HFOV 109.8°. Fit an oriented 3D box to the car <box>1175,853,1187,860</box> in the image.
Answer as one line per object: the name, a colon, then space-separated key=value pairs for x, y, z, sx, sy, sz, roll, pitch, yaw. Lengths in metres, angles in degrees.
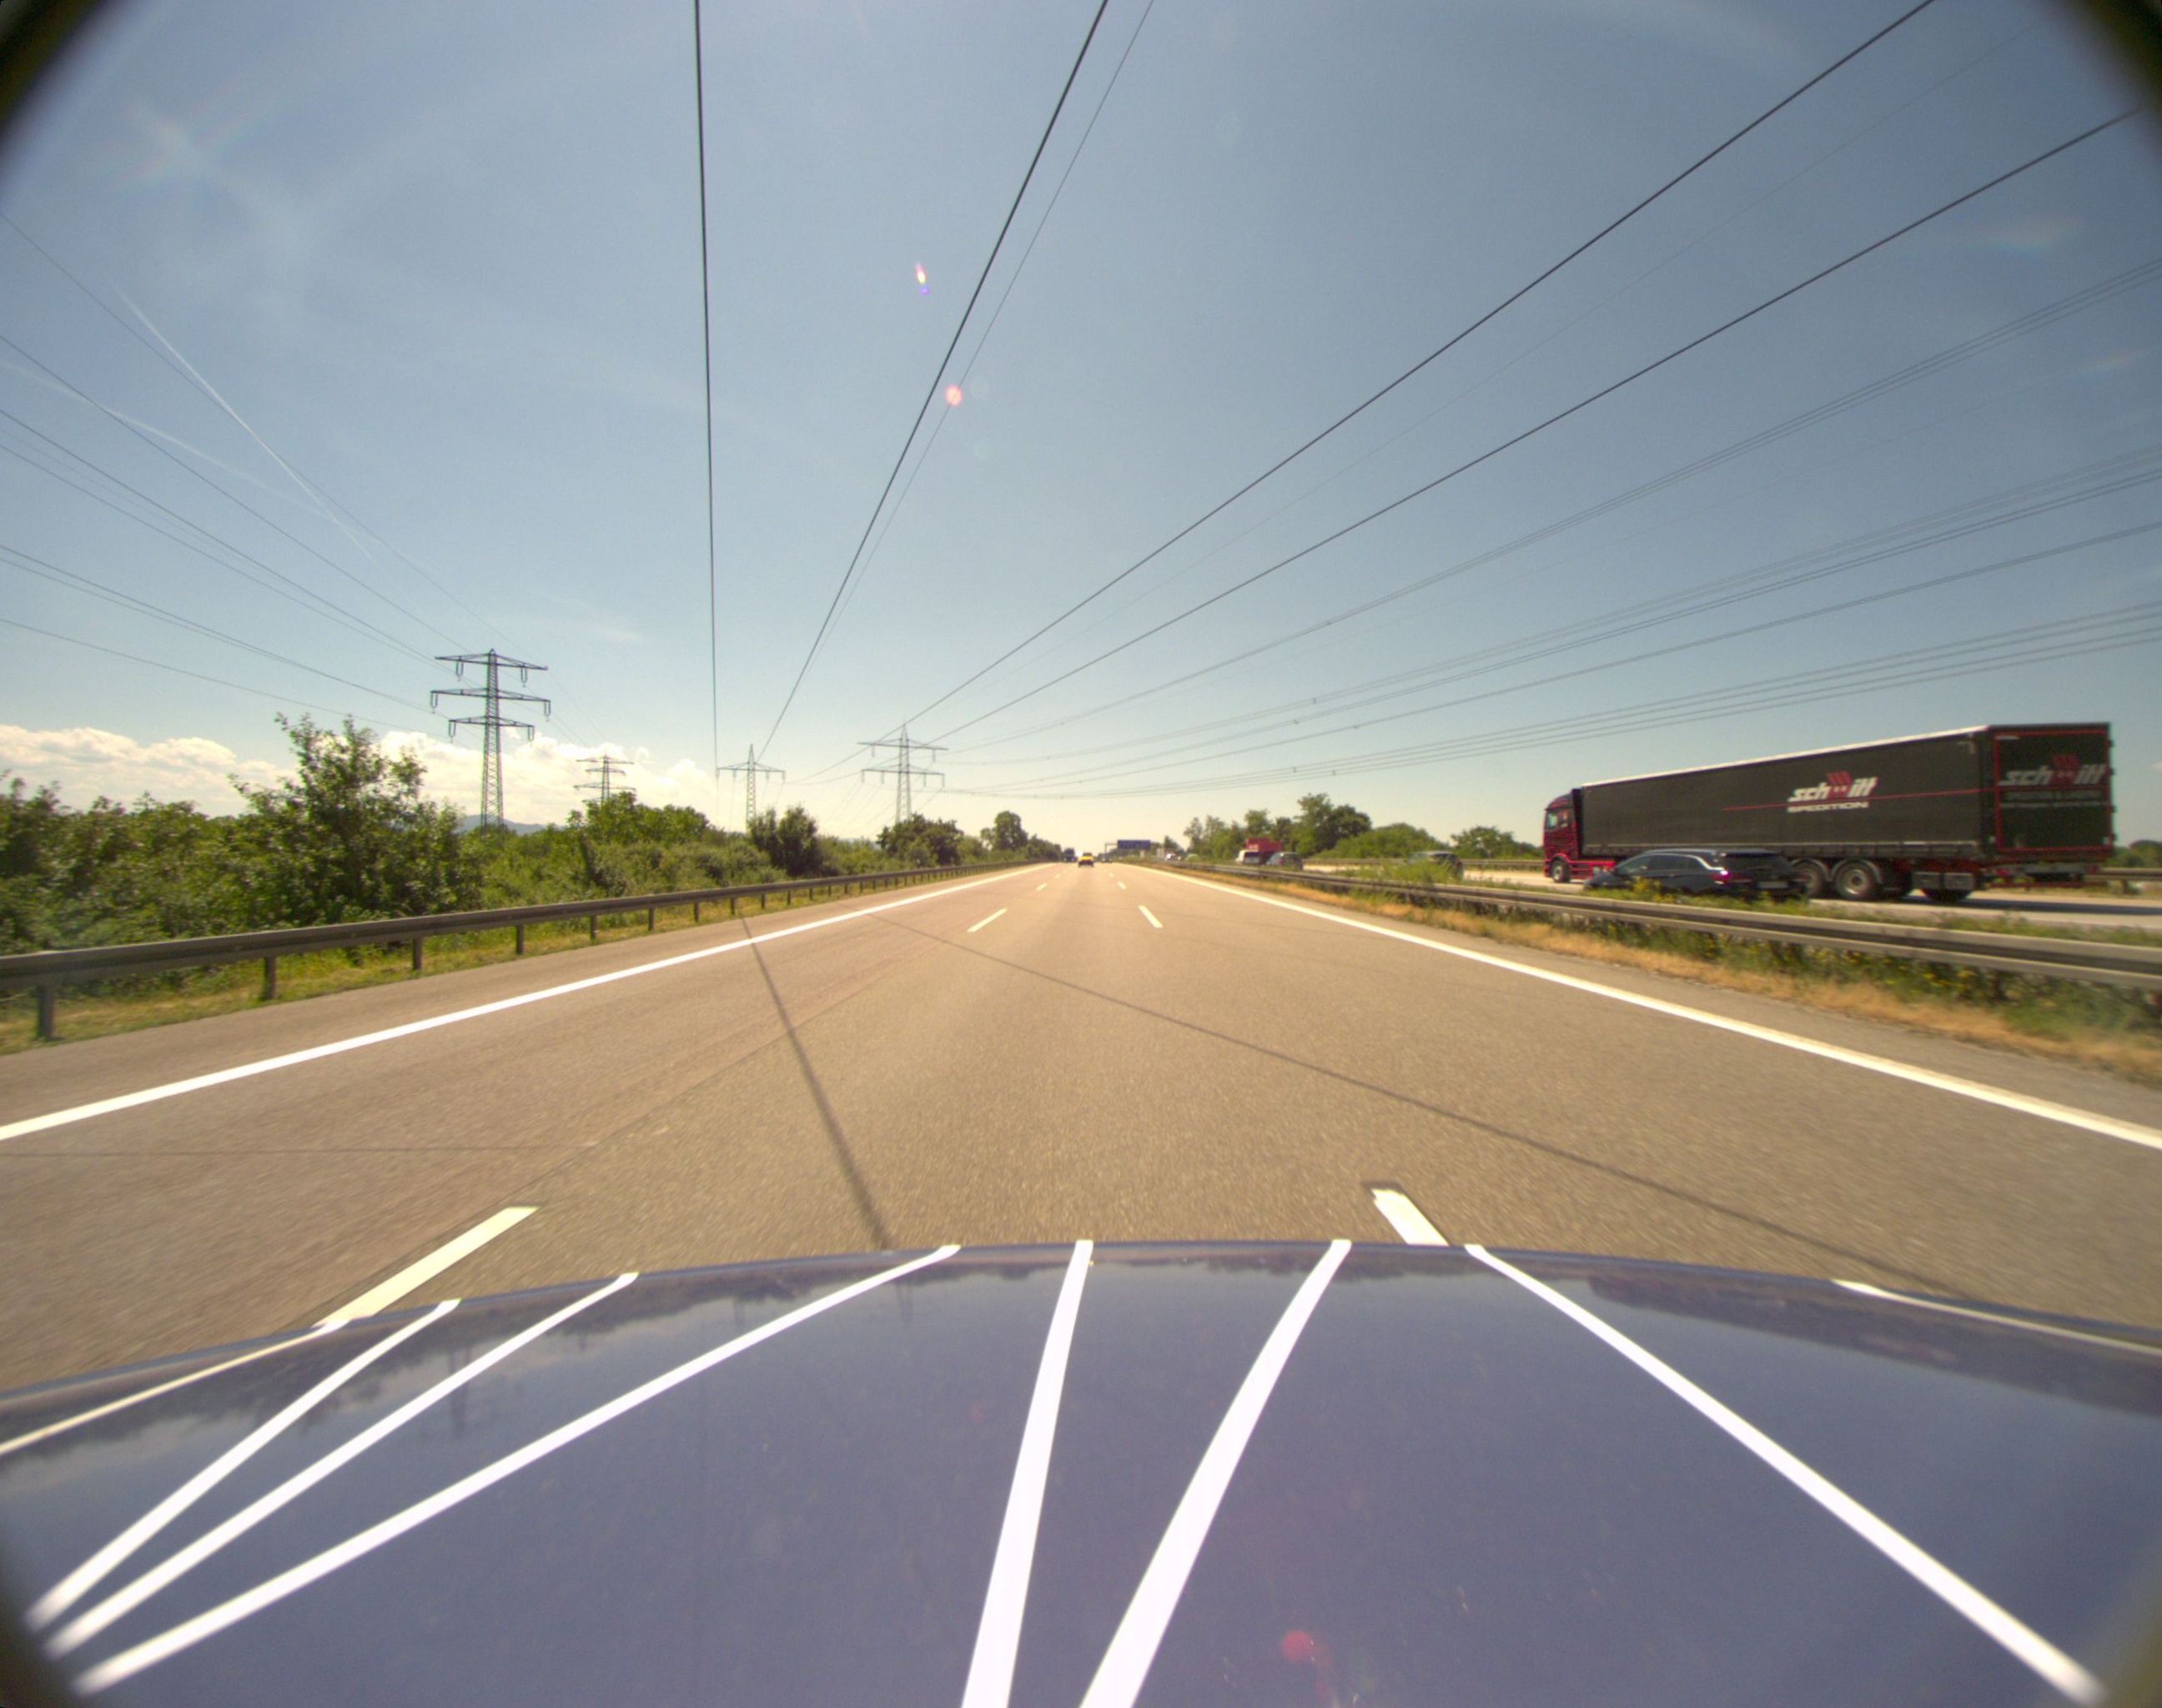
car: x=22.029 y=0.588 z=167.314 sx=1.998 sy=1.576 sz=5.067 roll=-2 pitch=0 yaw=1

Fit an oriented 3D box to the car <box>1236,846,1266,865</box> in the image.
car: x=16.999 y=0.156 z=76.158 sx=1.976 sy=1.763 sz=4.368 roll=-2 pitch=0 yaw=1

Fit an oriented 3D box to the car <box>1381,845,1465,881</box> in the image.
car: x=16.564 y=0.432 z=37.131 sx=1.949 sy=1.608 sz=5.018 roll=-2 pitch=0 yaw=2

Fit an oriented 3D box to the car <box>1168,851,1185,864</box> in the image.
car: x=14.117 y=0.532 z=112.356 sx=1.998 sy=1.842 sz=4.535 roll=-2 pitch=0 yaw=1

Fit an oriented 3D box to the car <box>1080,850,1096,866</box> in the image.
car: x=0.818 y=0.493 z=94.818 sx=1.955 sy=2.001 sz=5.433 roll=0 pitch=-1 yaw=0

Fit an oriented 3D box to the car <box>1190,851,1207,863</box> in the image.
car: x=17.722 y=0.512 z=114.756 sx=1.998 sy=1.750 sz=4.535 roll=-2 pitch=0 yaw=1

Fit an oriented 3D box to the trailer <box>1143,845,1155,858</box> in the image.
trailer: x=22.943 y=-0.761 z=256.601 sx=2.429 sy=4.264 sz=14.432 roll=-2 pitch=0 yaw=0

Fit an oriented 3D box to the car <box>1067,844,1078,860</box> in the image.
car: x=-2.155 y=-0.448 z=190.278 sx=2.686 sy=3.723 sz=6.271 roll=0 pitch=0 yaw=0

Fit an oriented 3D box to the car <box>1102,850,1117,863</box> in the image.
car: x=5.543 y=0.558 z=147.331 sx=2.686 sy=2.509 sz=5.968 roll=0 pitch=-1 yaw=0

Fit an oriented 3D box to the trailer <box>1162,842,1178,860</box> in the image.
trailer: x=22.435 y=-0.708 z=191.401 sx=2.848 sy=4.139 sz=8.327 roll=-2 pitch=0 yaw=0

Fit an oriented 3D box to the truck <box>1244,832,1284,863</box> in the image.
truck: x=21.719 y=-0.733 z=90.544 sx=2.777 sy=3.506 sz=8.534 roll=-2 pitch=0 yaw=1

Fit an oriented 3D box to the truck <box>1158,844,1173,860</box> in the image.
truck: x=22.170 y=-0.514 z=200.918 sx=2.699 sy=3.926 sz=10.593 roll=-2 pitch=0 yaw=0

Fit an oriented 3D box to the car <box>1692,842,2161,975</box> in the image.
car: x=12.544 y=0.693 z=11.939 sx=1.833 sy=1.609 sz=5.017 roll=-2 pitch=0 yaw=0

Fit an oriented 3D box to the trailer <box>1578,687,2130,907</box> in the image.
trailer: x=20.731 y=-1.149 z=22.861 sx=2.655 sy=4.525 sz=13.866 roll=-2 pitch=0 yaw=1

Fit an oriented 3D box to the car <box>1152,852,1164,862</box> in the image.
car: x=14.861 y=0.585 z=146.854 sx=1.998 sy=2.002 sz=4.921 roll=-2 pitch=0 yaw=1

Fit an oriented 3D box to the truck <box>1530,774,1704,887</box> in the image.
truck: x=20.883 y=-0.822 z=30.065 sx=2.655 sy=3.959 sz=5.992 roll=-2 pitch=0 yaw=1
